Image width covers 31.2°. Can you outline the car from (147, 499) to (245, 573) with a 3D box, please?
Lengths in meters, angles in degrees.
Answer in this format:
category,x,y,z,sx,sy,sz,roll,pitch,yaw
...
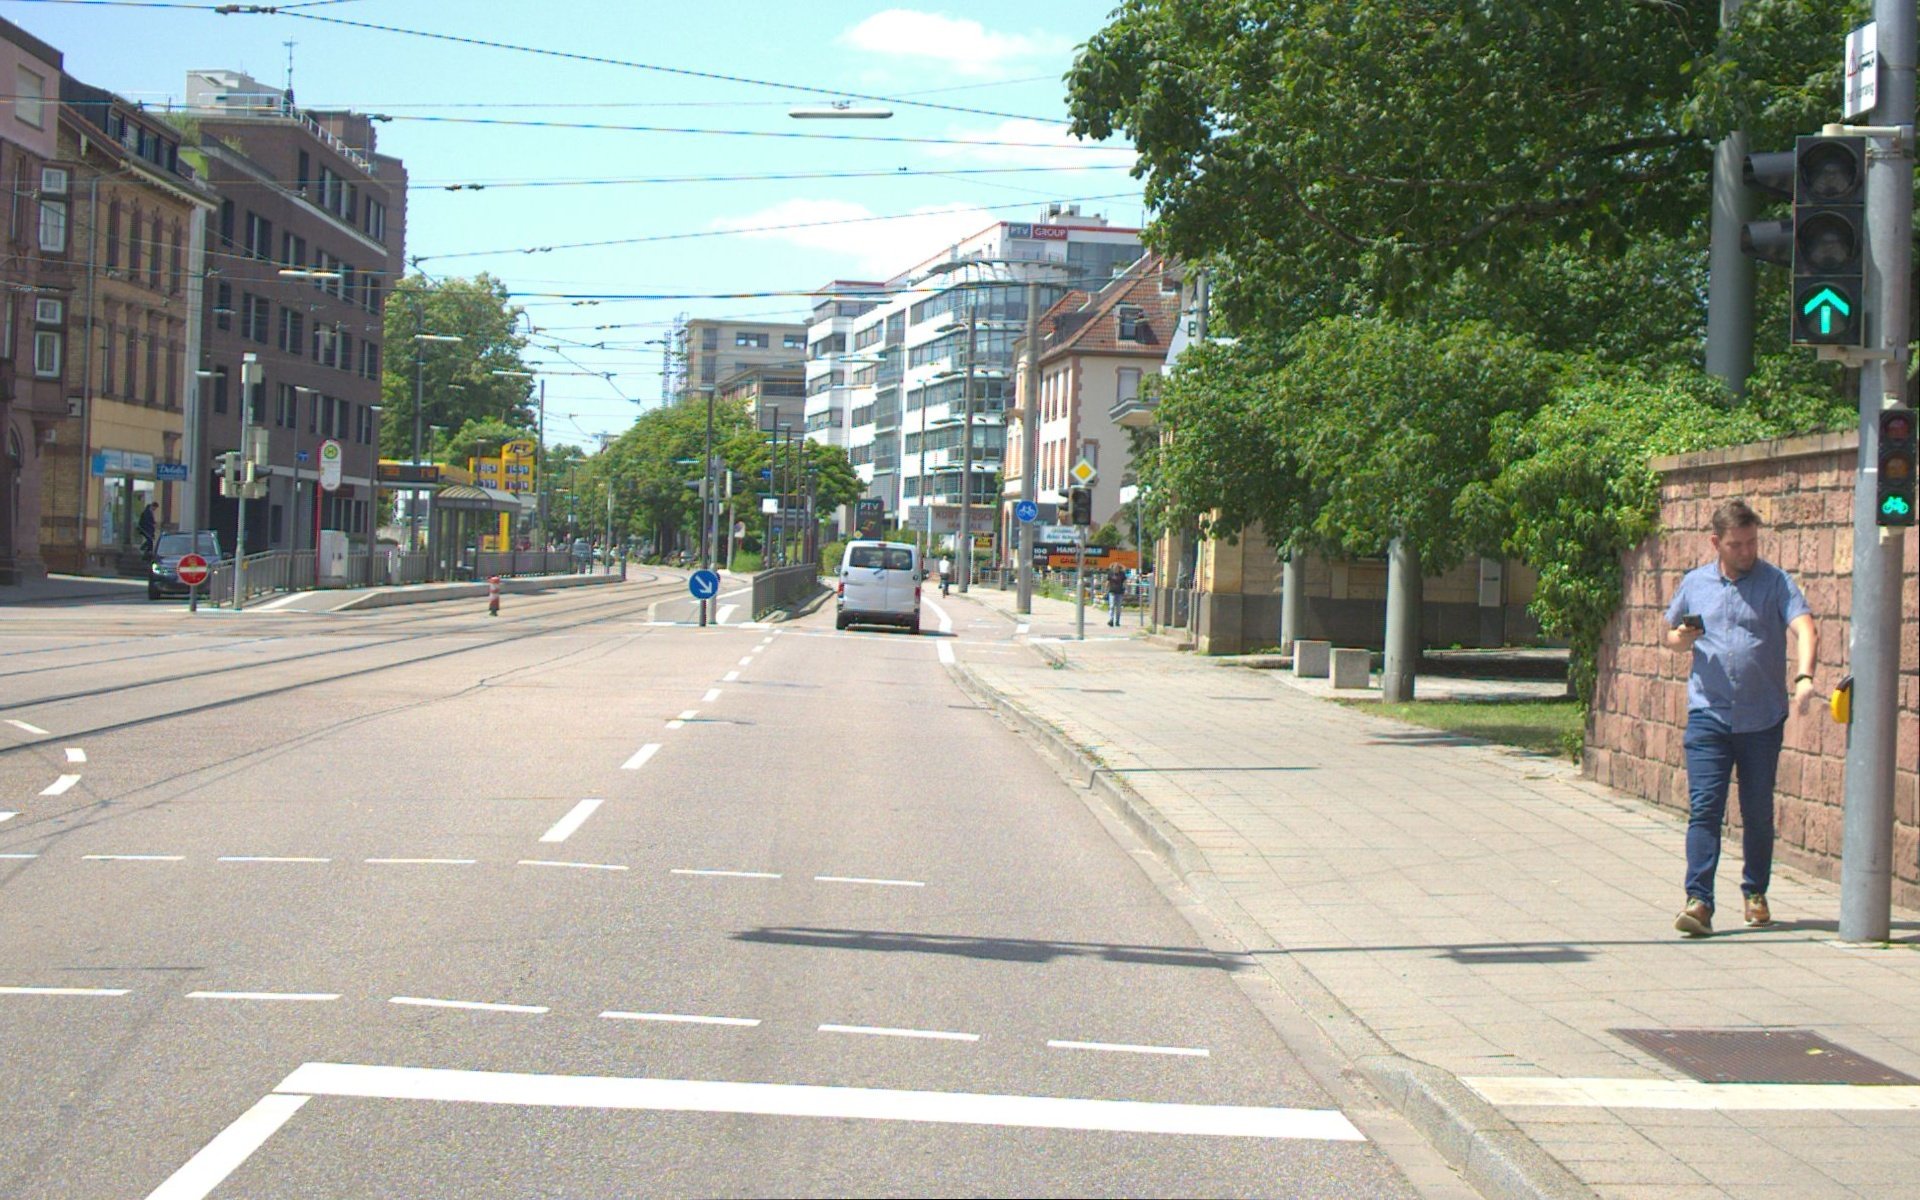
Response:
category,x,y,z,sx,sy,sz,roll,pitch,yaw
car,-18.473,-1.566,83.276,1.723,1.677,4.280,2,1,-5

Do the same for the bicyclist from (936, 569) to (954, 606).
category,x,y,z,sx,sy,sz,roll,pitch,yaw
bicyclist,-0.591,-0.495,133.082,0.591,1.392,0.842,3,1,-3

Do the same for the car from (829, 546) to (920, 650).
category,x,y,z,sx,sy,sz,roll,pitch,yaw
car,-1.756,-0.071,71.310,1.752,2.007,4.000,2,1,0

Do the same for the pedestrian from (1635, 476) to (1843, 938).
category,x,y,z,sx,sy,sz,roll,pitch,yaw
pedestrian,3.202,0.431,14.183,0.715,1.845,0.767,-1,0,5

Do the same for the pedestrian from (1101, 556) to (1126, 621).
category,x,y,z,sx,sy,sz,roll,pitch,yaw
pedestrian,3.695,-0.281,82.570,0.577,1.551,0.786,1,0,2

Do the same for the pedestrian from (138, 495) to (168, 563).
category,x,y,z,sx,sy,sz,roll,pitch,yaw
pedestrian,-24.742,-2.173,105.414,0.617,2.007,0.810,4,0,-3
